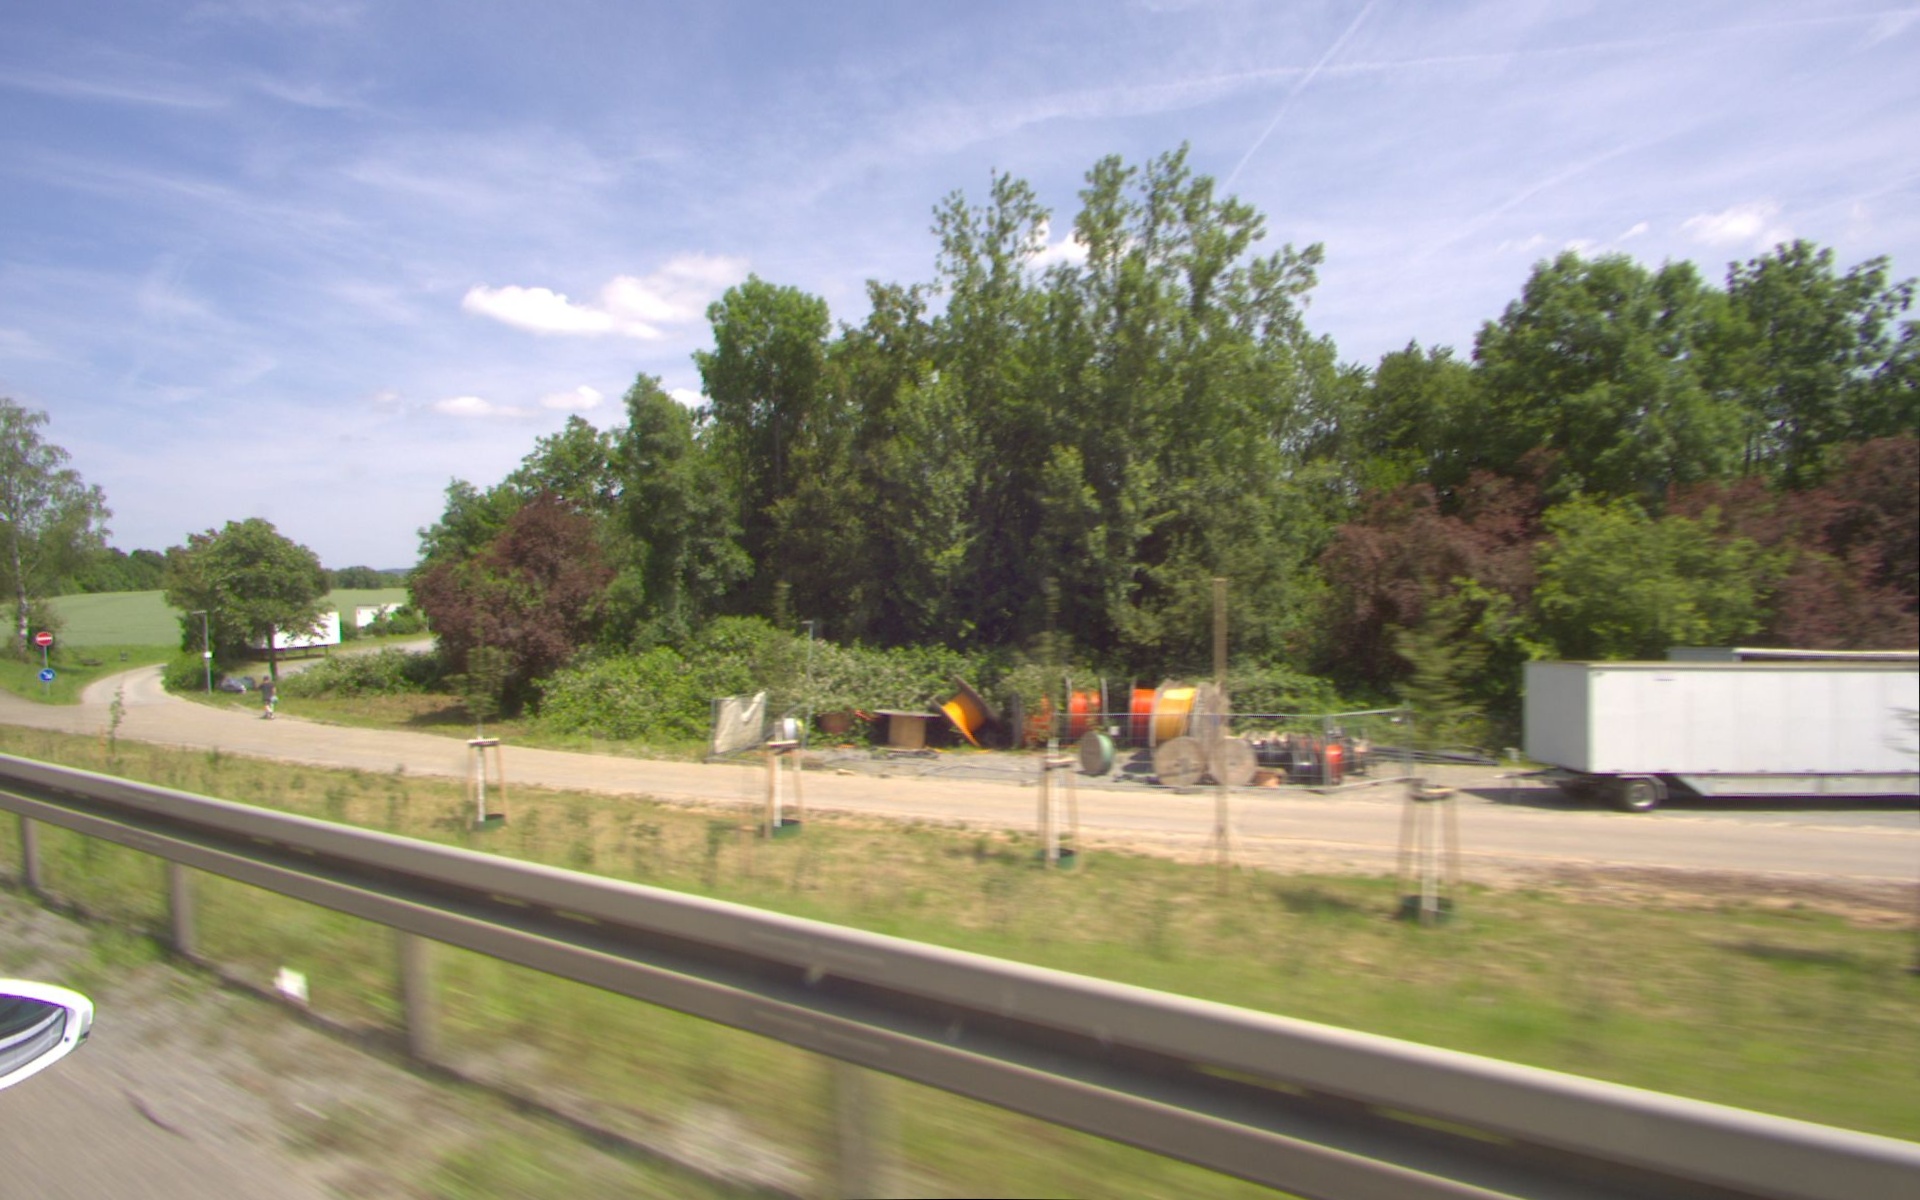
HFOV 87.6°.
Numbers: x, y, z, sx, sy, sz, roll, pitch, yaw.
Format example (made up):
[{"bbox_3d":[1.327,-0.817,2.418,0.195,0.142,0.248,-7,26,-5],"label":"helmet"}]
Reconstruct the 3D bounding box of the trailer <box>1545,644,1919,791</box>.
[{"bbox_3d":[22.222,3.035,26.662,11.662,3.652,2.729,0,-1,0],"label":"trailer"}]

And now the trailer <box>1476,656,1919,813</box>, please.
[{"bbox_3d":[18.623,3.046,23.571,11.663,3.371,2.728,0,-1,-2],"label":"trailer"}]

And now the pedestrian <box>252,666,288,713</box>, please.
[{"bbox_3d":[-28.810,3.719,41.809,0.946,1.836,0.882,0,3,34],"label":"pedestrian"}]

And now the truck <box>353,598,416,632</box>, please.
[{"bbox_3d":[-65.189,1.627,113.646,3.091,3.584,7.136,-1,1,-2],"label":"truck"}]
